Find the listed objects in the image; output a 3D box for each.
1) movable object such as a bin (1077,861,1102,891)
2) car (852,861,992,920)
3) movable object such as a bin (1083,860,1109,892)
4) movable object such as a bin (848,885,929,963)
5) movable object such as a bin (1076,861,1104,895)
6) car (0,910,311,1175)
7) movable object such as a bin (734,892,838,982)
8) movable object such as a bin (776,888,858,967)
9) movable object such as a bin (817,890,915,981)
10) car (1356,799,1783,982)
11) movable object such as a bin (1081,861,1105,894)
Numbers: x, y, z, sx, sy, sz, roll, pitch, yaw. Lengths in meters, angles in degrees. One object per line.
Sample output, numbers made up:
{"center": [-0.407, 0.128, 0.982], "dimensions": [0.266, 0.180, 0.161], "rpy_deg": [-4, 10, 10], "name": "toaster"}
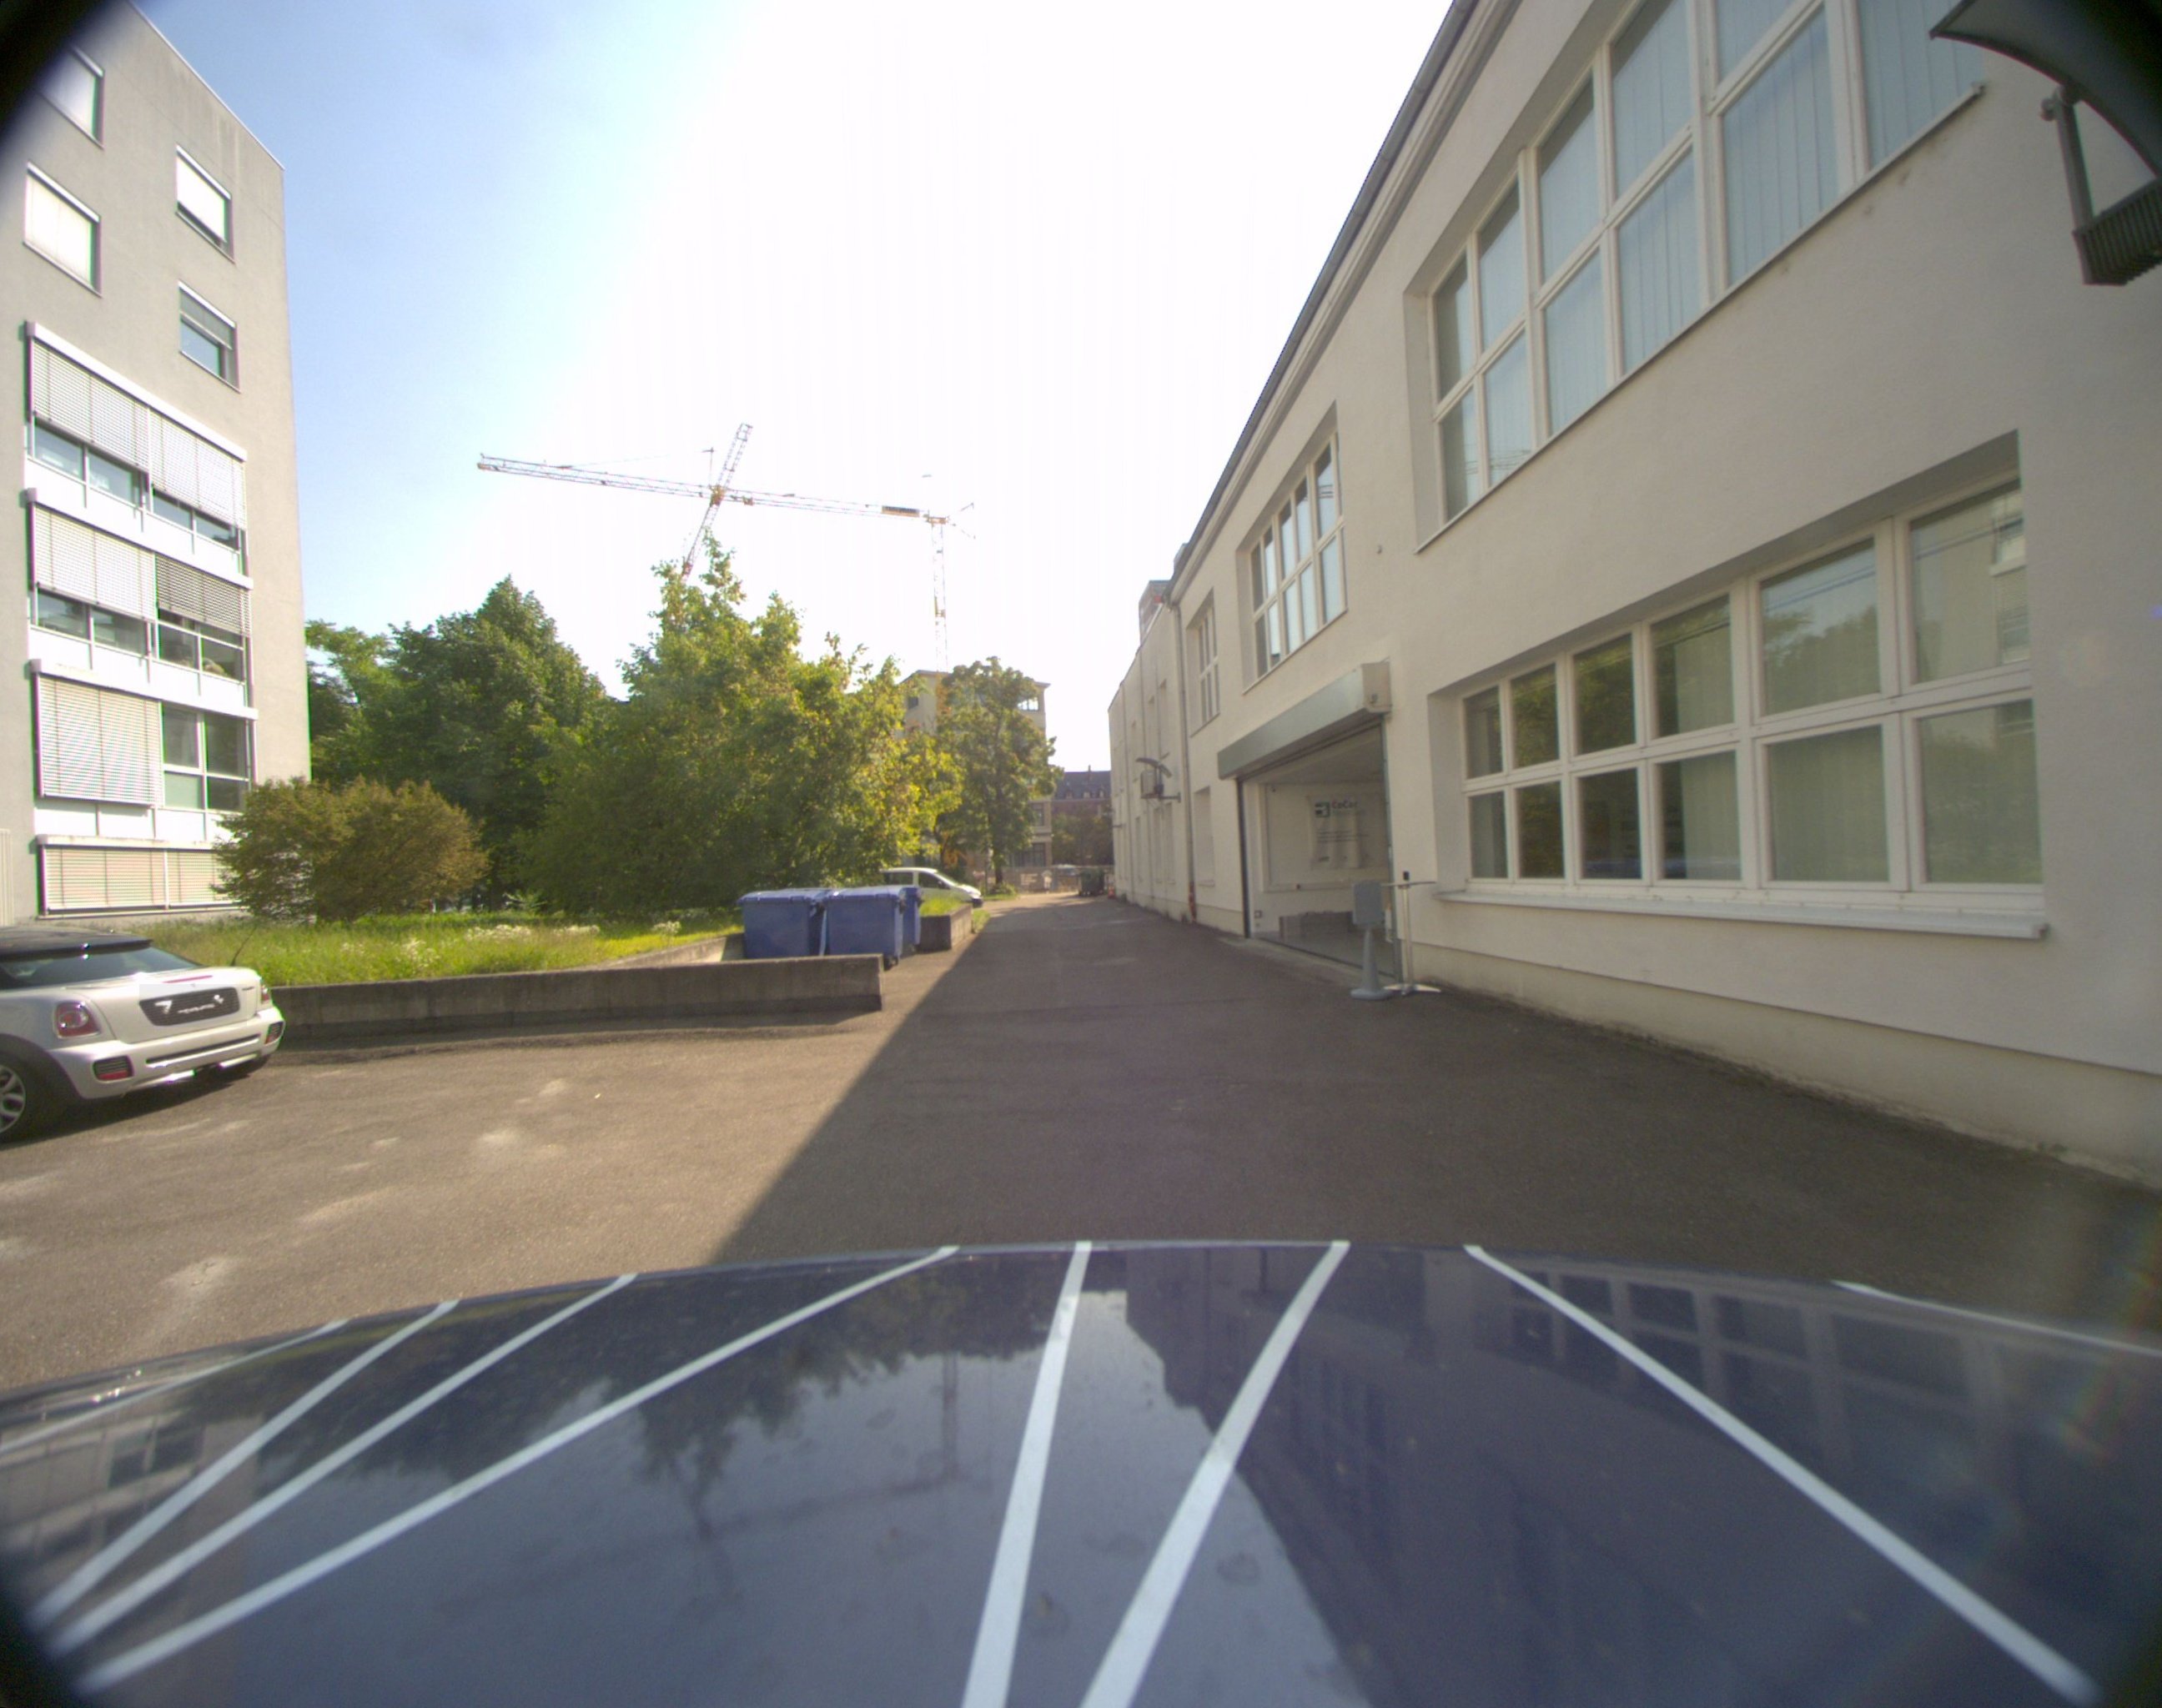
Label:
{"center": [0.475, 1.264, 44.242], "dimensions": [1.184, 1.695, 1.376], "rpy_deg": [-3, 0, -8], "name": "movable object such as a bin"}
{"center": [-6.110, 1.383, 29.749], "dimensions": [4.971, 1.909, 2.043], "rpy_deg": [-3, 0, -2], "name": "car"}
{"center": [0.837, 1.242, 42.866], "dimensions": [1.184, 1.695, 1.376], "rpy_deg": [-3, 0, -8], "name": "movable object such as a bin"}
{"center": [-3.636, 1.302, 14.480], "dimensions": [1.313, 1.332, 1.099], "rpy_deg": [-3, 0, -7], "name": "movable object such as a bin"}
{"center": [0.459, 1.251, 39.624], "dimensions": [1.184, 1.695, 1.376], "rpy_deg": [-3, 0, -8], "name": "movable object such as a bin"}
{"center": [-8.497, 1.253, 5.590], "dimensions": [3.630, 1.535, 1.802], "rpy_deg": [1, 0, -6], "name": "car"}
{"center": [-4.884, 1.353, 12.683], "dimensions": [1.238, 1.332, 1.117], "rpy_deg": [-3, 0, 0], "name": "movable object such as a bin"}
{"center": [-4.967, 1.367, 14.398], "dimensions": [1.230, 1.332, 1.076], "rpy_deg": [-3, 0, -8], "name": "movable object such as a bin"}
{"center": [-3.554, 1.324, 12.730], "dimensions": [1.304, 1.332, 1.194], "rpy_deg": [-3, 0, -5], "name": "movable object such as a bin"}
{"center": [6.724, 0.459, 10.842], "dimensions": [4.760, 2.080, 2.055], "rpy_deg": [-3, 0, -4], "name": "car"}
{"center": [0.653, 1.247, 41.442], "dimensions": [1.183, 1.695, 1.395], "rpy_deg": [-3, 0, 0], "name": "movable object such as a bin"}
